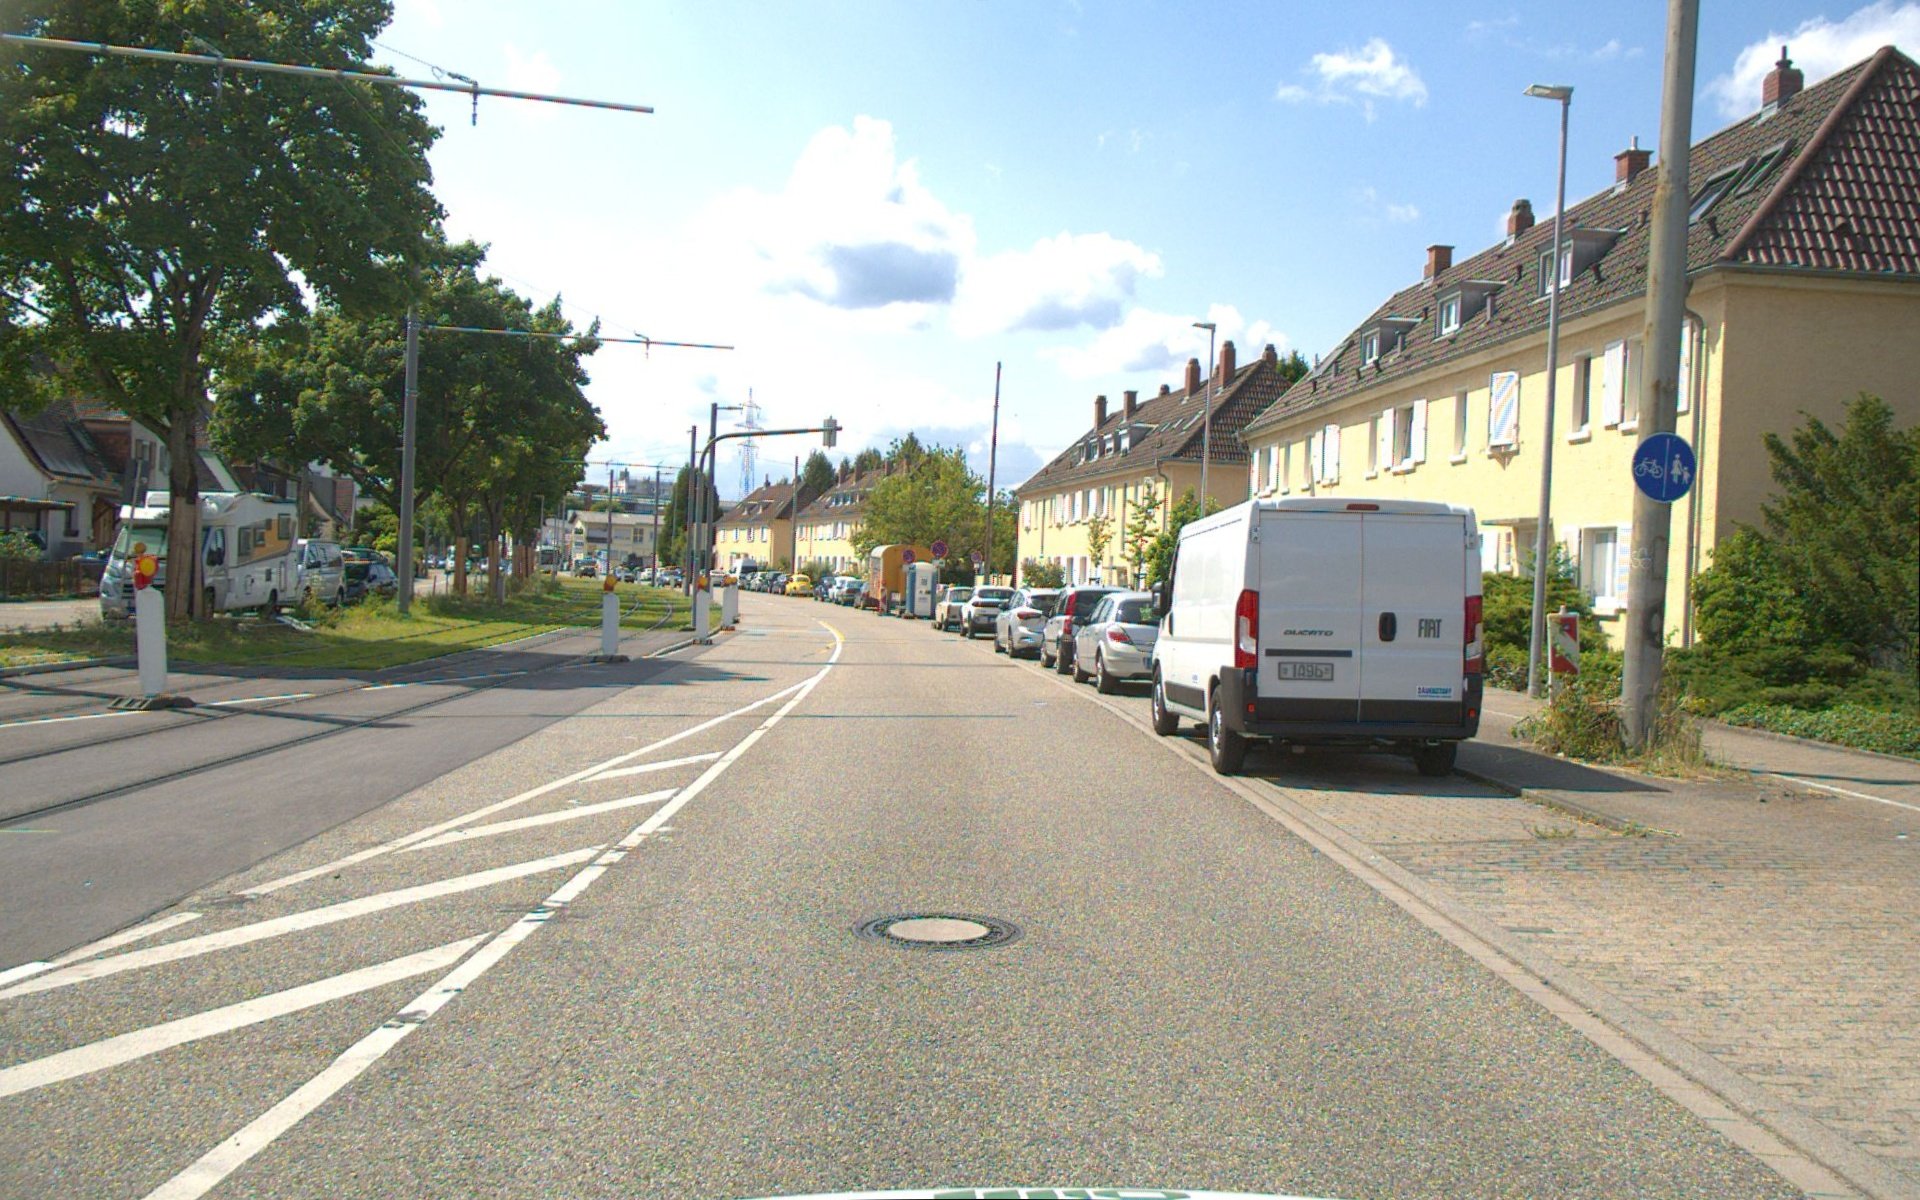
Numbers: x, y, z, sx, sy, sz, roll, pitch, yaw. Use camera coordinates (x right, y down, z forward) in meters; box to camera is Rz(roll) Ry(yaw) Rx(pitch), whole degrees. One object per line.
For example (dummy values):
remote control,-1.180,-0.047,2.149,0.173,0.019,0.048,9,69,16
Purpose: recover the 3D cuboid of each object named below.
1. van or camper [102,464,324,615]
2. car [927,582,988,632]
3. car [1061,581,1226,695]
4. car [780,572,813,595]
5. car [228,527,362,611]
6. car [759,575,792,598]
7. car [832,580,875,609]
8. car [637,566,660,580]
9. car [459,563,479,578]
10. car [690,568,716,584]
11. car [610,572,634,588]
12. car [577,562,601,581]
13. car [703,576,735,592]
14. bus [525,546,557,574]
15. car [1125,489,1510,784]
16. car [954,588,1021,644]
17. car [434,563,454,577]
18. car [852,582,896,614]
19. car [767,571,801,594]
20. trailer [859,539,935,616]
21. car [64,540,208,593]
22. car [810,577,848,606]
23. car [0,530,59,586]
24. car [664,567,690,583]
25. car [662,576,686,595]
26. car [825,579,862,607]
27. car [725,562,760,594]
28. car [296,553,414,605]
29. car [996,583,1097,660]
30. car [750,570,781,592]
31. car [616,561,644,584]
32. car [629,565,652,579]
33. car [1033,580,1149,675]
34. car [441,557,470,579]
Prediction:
van or camper,-16.853,-1.291,37.877,2.330,3.022,7.287,2,0,-6
car,-0.114,0.213,53.992,1.435,1.528,4.102,1,0,-8
car,2.680,0.506,25.072,1.674,1.530,4.251,2,1,-5
car,-11.256,-1.137,113.718,1.609,1.508,3.916,-1,2,-15
car,-17.764,-0.825,44.429,1.955,2.048,4.898,2,0,-6
car,-13.851,-1.014,123.939,1.611,1.630,3.910,2,1,-19
car,-5.904,-0.304,91.596,1.676,1.474,4.821,2,1,-12
car,-33.457,-2.896,177.749,1.739,1.464,3.975,0,1,-22
car,-51.848,-3.121,174.684,1.703,1.531,4.540,0,1,-20
car,-24.066,-2.264,154.572,1.598,1.441,3.975,0,1,-21
car,-32.873,-1.968,160.737,1.698,1.413,4.099,2,0,-19
car,-40.437,-3.129,180.263,1.927,2.000,5.262,1,1,-20
car,-21.822,-1.454,149.793,1.774,1.483,4.733,0,1,-22
bus,-53.871,-5.146,212.420,2.598,3.472,12.175,1,1,-20
car,3.091,0.252,16.013,2.230,2.221,6.367,2,1,-1
car,0.767,0.428,47.710,1.498,1.507,3.805,1,0,-5
car,-62.285,-3.668,199.723,1.853,1.580,4.348,2,0,-22
car,-4.404,-0.100,83.877,1.549,1.474,4.441,2,1,-12
car,-12.538,-1.231,117.733,1.610,1.508,4.105,2,1,-17
trailer,-2.910,-1.019,75.540,2.642,3.282,5.069,2,0,-11
car,-27.855,-1.134,56.049,3.916,1.557,1.869,3,0,-11
car,-8.060,-0.555,101.570,1.523,1.669,4.230,2,1,-15
car,-32.463,-1.475,55.047,3.916,1.767,1.794,3,0,-11
car,-27.876,-2.481,162.755,1.739,1.441,3.975,0,1,-22
car,-23.807,-1.223,137.662,1.637,1.474,3.944,0,1,-15
car,-6.823,-0.431,96.596,1.549,1.539,4.447,2,1,-12
car,-18.089,-1.838,137.398,1.899,2.524,5.489,1,1,-18
car,-18.011,-0.629,49.488,1.815,1.411,4.807,2,0,-2
car,1.814,0.411,35.865,1.715,1.524,4.383,1,0,-3
car,-15.060,-1.476,127.771,1.610,1.630,4.011,2,1,-17
car,-37.585,-3.122,188.165,1.932,2.522,6.019,0,1,-22
car,-35.264,-3.066,182.568,1.739,1.528,3.975,0,1,-22
car,2.326,0.451,30.180,1.595,1.577,3.807,1,0,-3
car,-44.506,-2.820,145.980,1.848,1.799,5.070,2,0,-11
